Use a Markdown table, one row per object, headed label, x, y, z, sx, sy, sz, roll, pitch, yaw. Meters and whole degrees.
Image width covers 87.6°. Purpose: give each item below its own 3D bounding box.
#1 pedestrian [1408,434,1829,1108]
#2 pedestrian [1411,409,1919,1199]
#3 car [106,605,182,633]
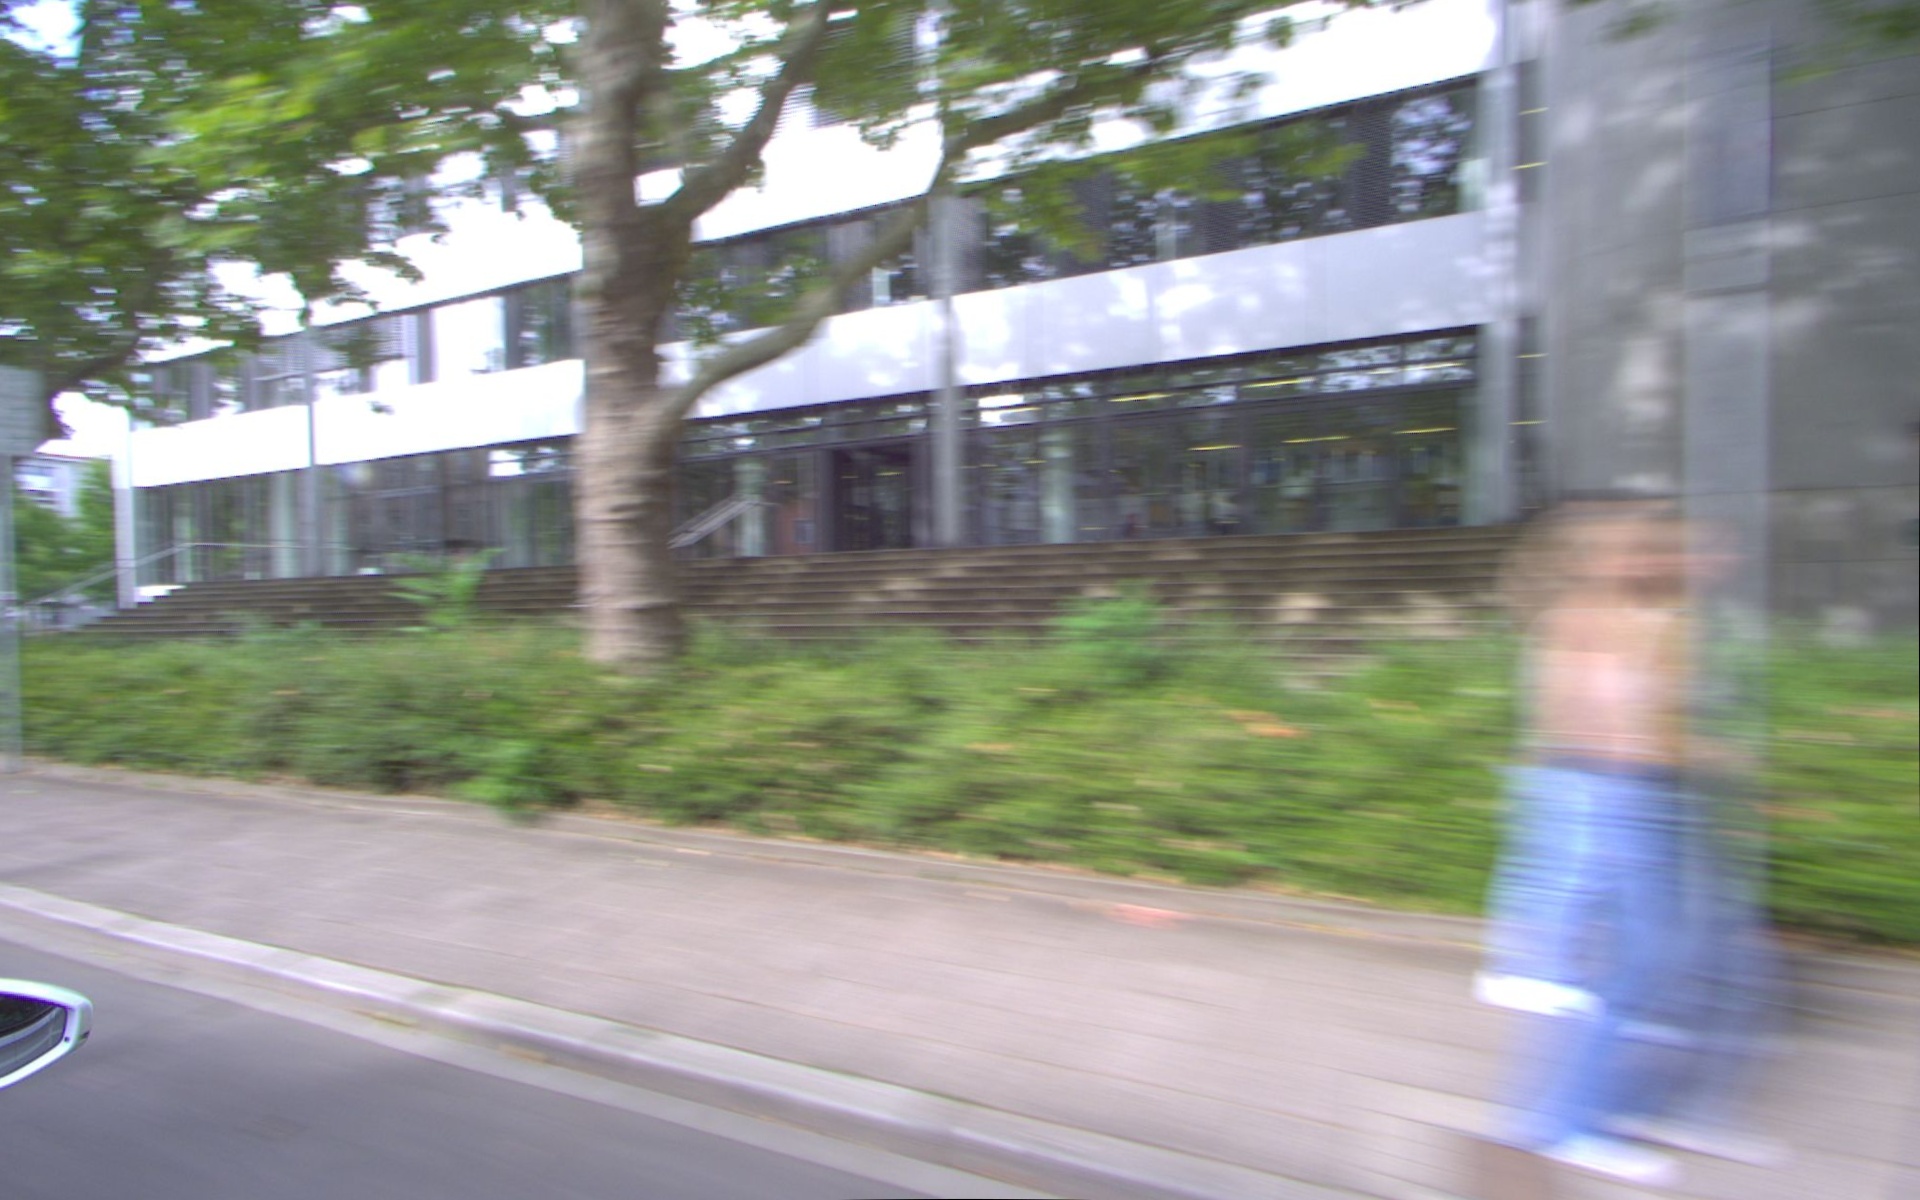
| label | x | y | z | sx | sy | sz | roll | pitch | yaw |
| --- | --- | --- | --- | --- | --- | --- | --- | --- | --- |
| pedestrian | 2.016 | 0.469 | 3.230 | 1.017 | 1.825 | 0.714 | -1 | 2 | 25 |
| pedestrian | 1.722 | 0.513 | 2.553 | 1.017 | 1.808 | 0.710 | -1 | 2 | 25 |
| car | -50.170 | 1.146 | 61.575 | 4.084 | 1.673 | 1.961 | -1 | 0 | 24 |
